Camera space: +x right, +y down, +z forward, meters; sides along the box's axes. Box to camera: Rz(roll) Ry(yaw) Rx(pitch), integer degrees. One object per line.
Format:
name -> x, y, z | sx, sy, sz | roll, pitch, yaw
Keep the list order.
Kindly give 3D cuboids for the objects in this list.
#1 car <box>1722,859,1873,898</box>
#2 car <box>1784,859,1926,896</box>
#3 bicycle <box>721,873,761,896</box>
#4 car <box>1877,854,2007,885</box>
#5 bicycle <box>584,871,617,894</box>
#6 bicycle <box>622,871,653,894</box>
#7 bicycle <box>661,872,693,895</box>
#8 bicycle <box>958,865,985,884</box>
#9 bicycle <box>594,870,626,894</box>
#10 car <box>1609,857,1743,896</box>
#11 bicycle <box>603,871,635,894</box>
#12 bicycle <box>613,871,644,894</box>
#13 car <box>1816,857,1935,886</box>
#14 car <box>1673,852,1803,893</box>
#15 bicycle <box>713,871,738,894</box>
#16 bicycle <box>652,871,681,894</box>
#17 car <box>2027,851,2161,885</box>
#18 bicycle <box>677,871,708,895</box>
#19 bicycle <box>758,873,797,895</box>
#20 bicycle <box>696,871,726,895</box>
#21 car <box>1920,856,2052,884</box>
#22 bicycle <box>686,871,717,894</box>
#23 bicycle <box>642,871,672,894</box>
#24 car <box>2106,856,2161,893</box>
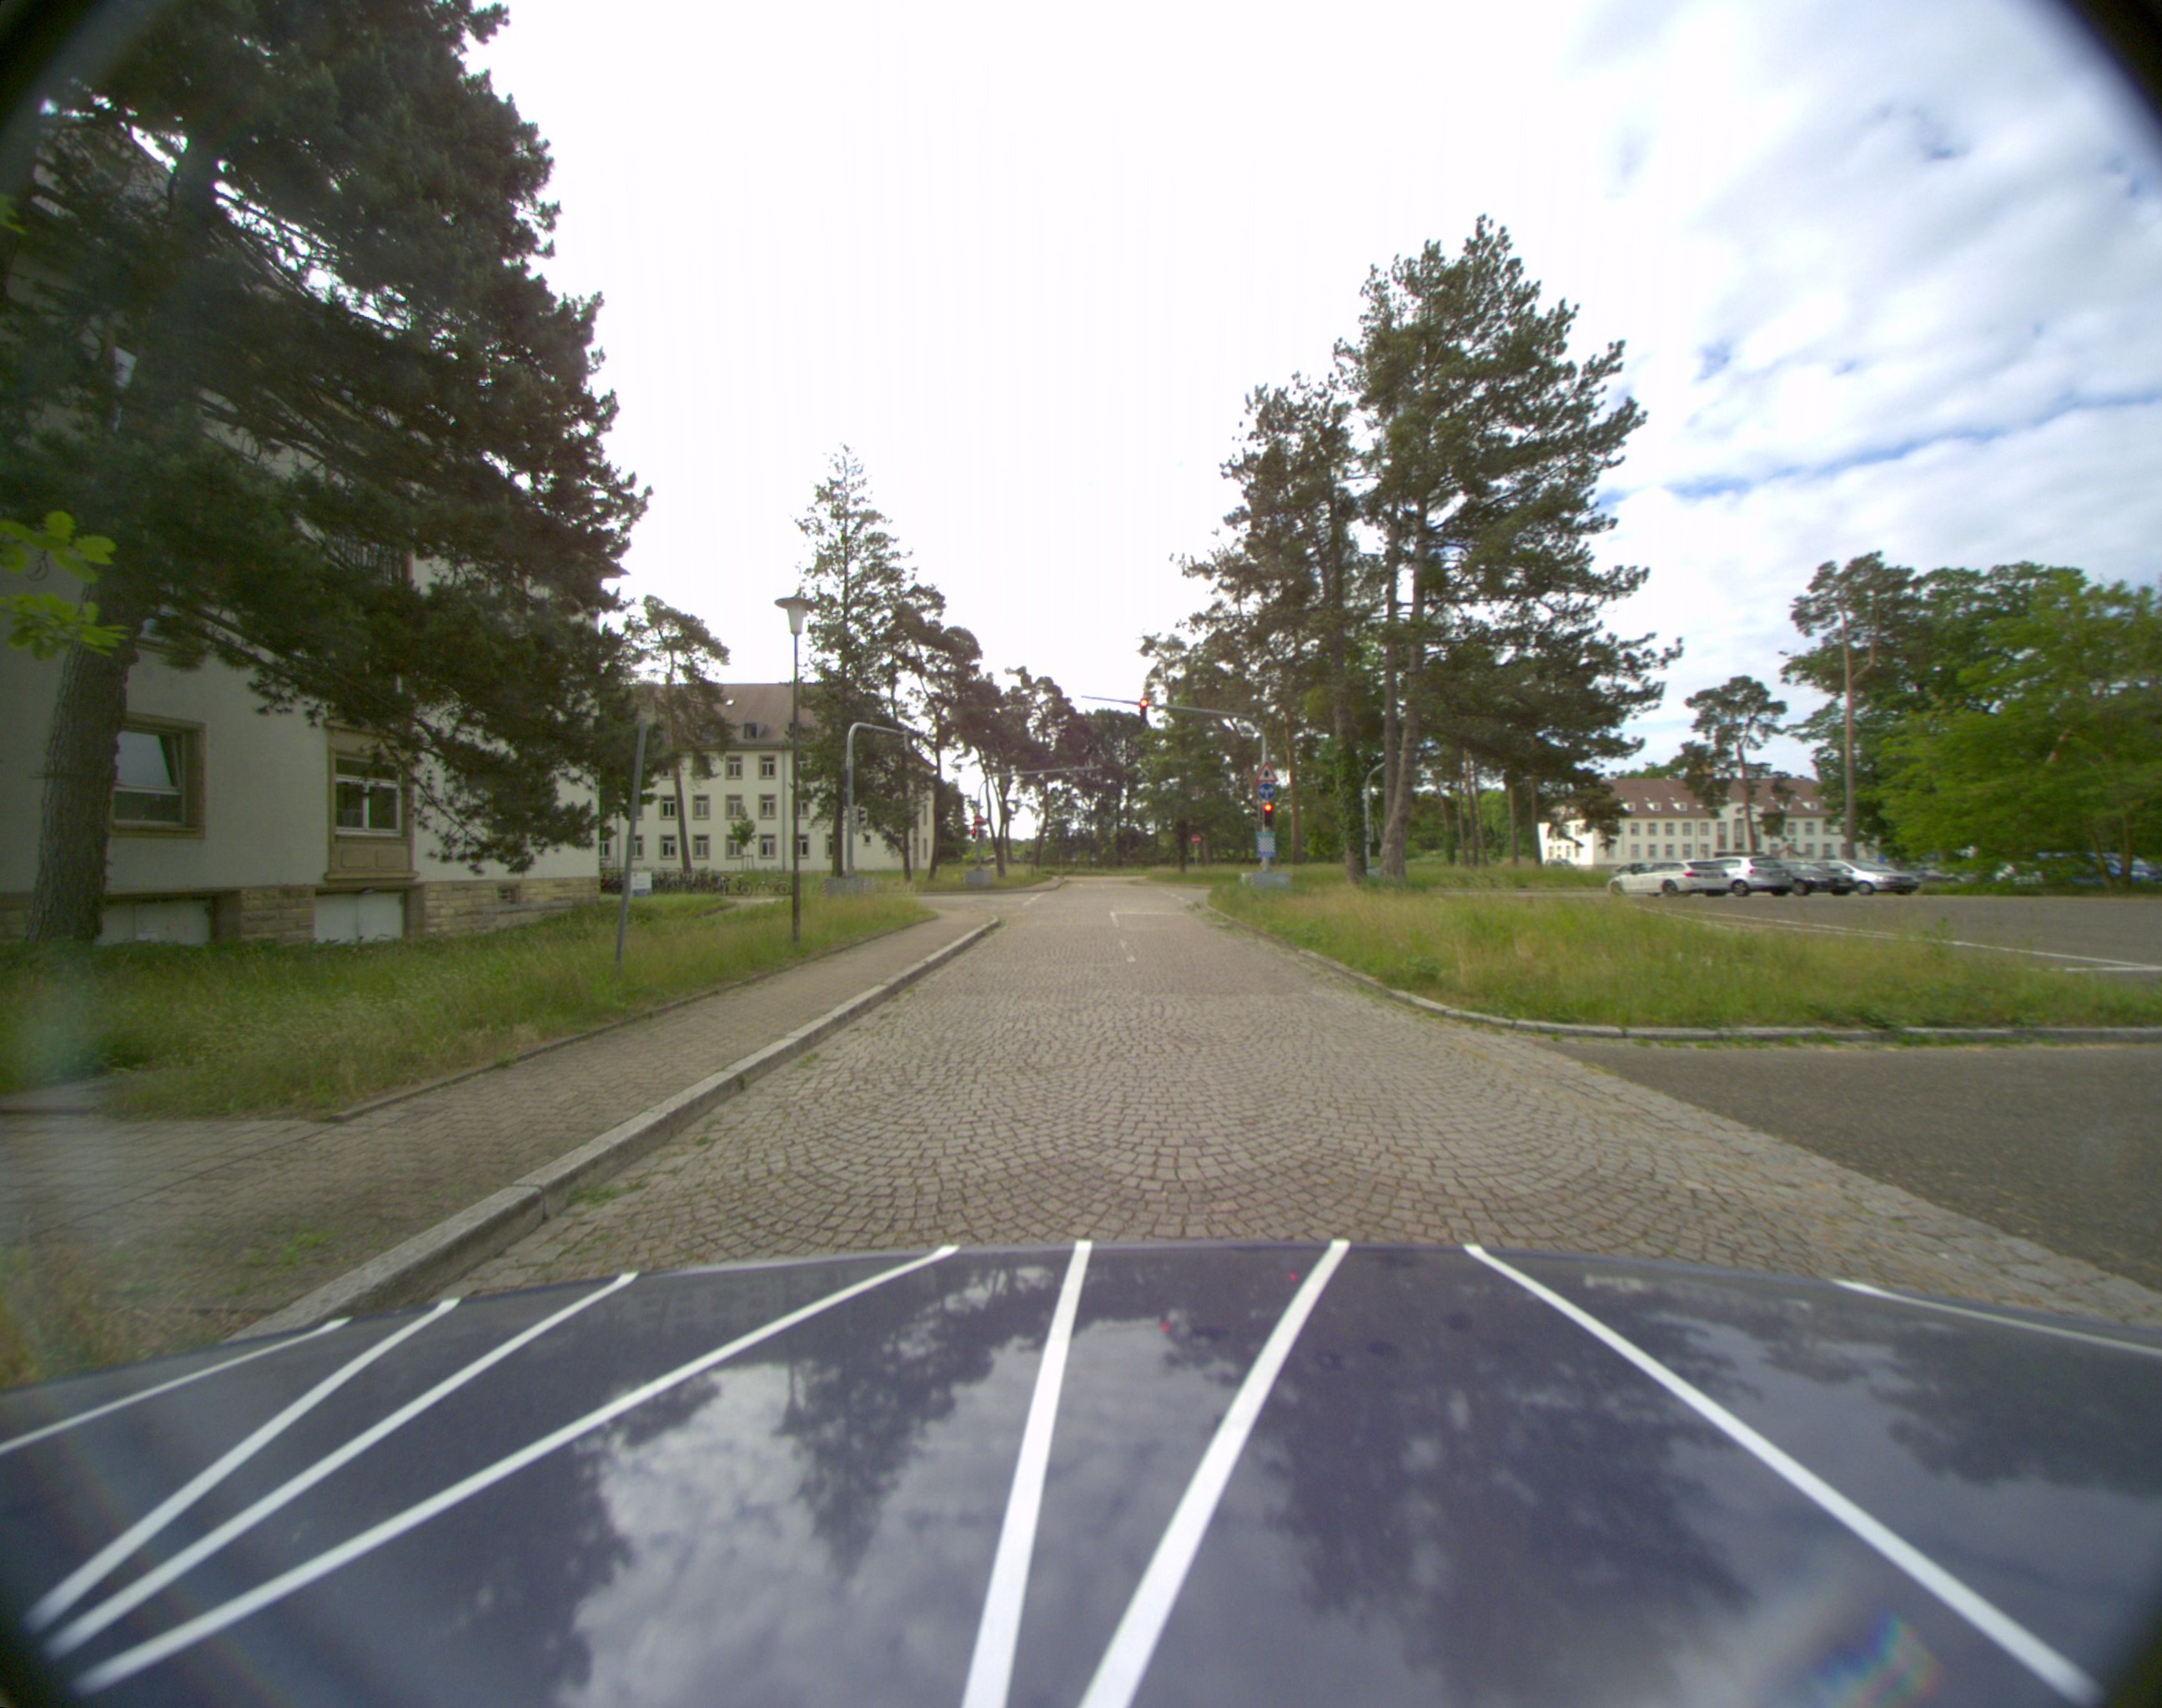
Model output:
car -> 28.599, 0.924, 30.561 | 1.829, 1.466, 4.402 | 0, 0, -2
car -> 31.400, 0.901, 31.008 | 1.637, 1.391, 4.037 | 0, 0, -2
bicycle -> -16.548, 1.467, 37.028 | 1.655, 1.079, 0.615 | 0, 0, 3
car -> 46.169, 0.802, 40.908 | 1.830, 1.466, 4.401 | -3, 0, -4
bicycle -> -24.493, 1.436, 38.761 | 0.448, 1.121, 1.731 | 0, 0, 4
bicycle -> -22.562, 1.453, 38.657 | 0.448, 1.121, 1.731 | 0, 0, 4
bicycle -> -20.481, 1.492, 38.526 | 0.447, 1.121, 1.732 | 0, 0, 9
bicycle -> -6.482, 1.194, 44.989 | 0.613, 1.079, 1.660 | 0, 0, 33
bicycle -> -23.992, 1.416, 38.743 | 0.448, 1.121, 1.731 | 0, 0, 4
car -> 23.435, 0.833, 30.165 | 1.829, 1.417, 4.320 | 0, 0, -2
bicycle -> -23.528, 1.425, 38.742 | 0.448, 1.121, 1.731 | 0, 0, 4
bicycle -> -23.048, 1.446, 38.702 | 0.448, 1.121, 1.731 | 0, 0, 4
car -> 43.273, 0.917, 41.564 | 1.829, 1.466, 4.402 | 0, 0, -2
car -> 25.943, 0.754, 30.182 | 1.674, 1.510, 3.900 | 0, -2, -2
bicycle -> -18.092, 1.460, 38.686 | 0.476, 1.121, 1.657 | 0, 0, 0
bicycle -> -21.030, 1.442, 38.578 | 0.448, 1.121, 1.731 | 0, 0, 4
car -> 54.367, 0.708, 40.671 | 1.829, 1.712, 4.582 | 0, 0, 1
bicycle -> -19.688, 1.461, 38.563 | 0.447, 1.121, 1.732 | 0, 0, 9
bicycle -> -14.847, 1.459, 37.148 | 1.656, 1.079, 0.614 | 0, 0, -2
bicycle -> -18.719, 1.450, 38.461 | 0.476, 1.121, 1.704 | 0, 0, 9
car -> 49.105, 0.843, 41.391 | 1.830, 1.466, 4.401 | 0, 0, -4
bicycle -> -19.213, 1.443, 38.491 | 0.447, 1.121, 1.703 | 0, 0, 9
bicycle -> -21.540, 1.435, 38.607 | 0.448, 1.121, 1.731 | 0, 0, 4
car -> 44.260, 0.808, 30.386 | 1.679, 1.466, 3.592 | 0, 0, -2
